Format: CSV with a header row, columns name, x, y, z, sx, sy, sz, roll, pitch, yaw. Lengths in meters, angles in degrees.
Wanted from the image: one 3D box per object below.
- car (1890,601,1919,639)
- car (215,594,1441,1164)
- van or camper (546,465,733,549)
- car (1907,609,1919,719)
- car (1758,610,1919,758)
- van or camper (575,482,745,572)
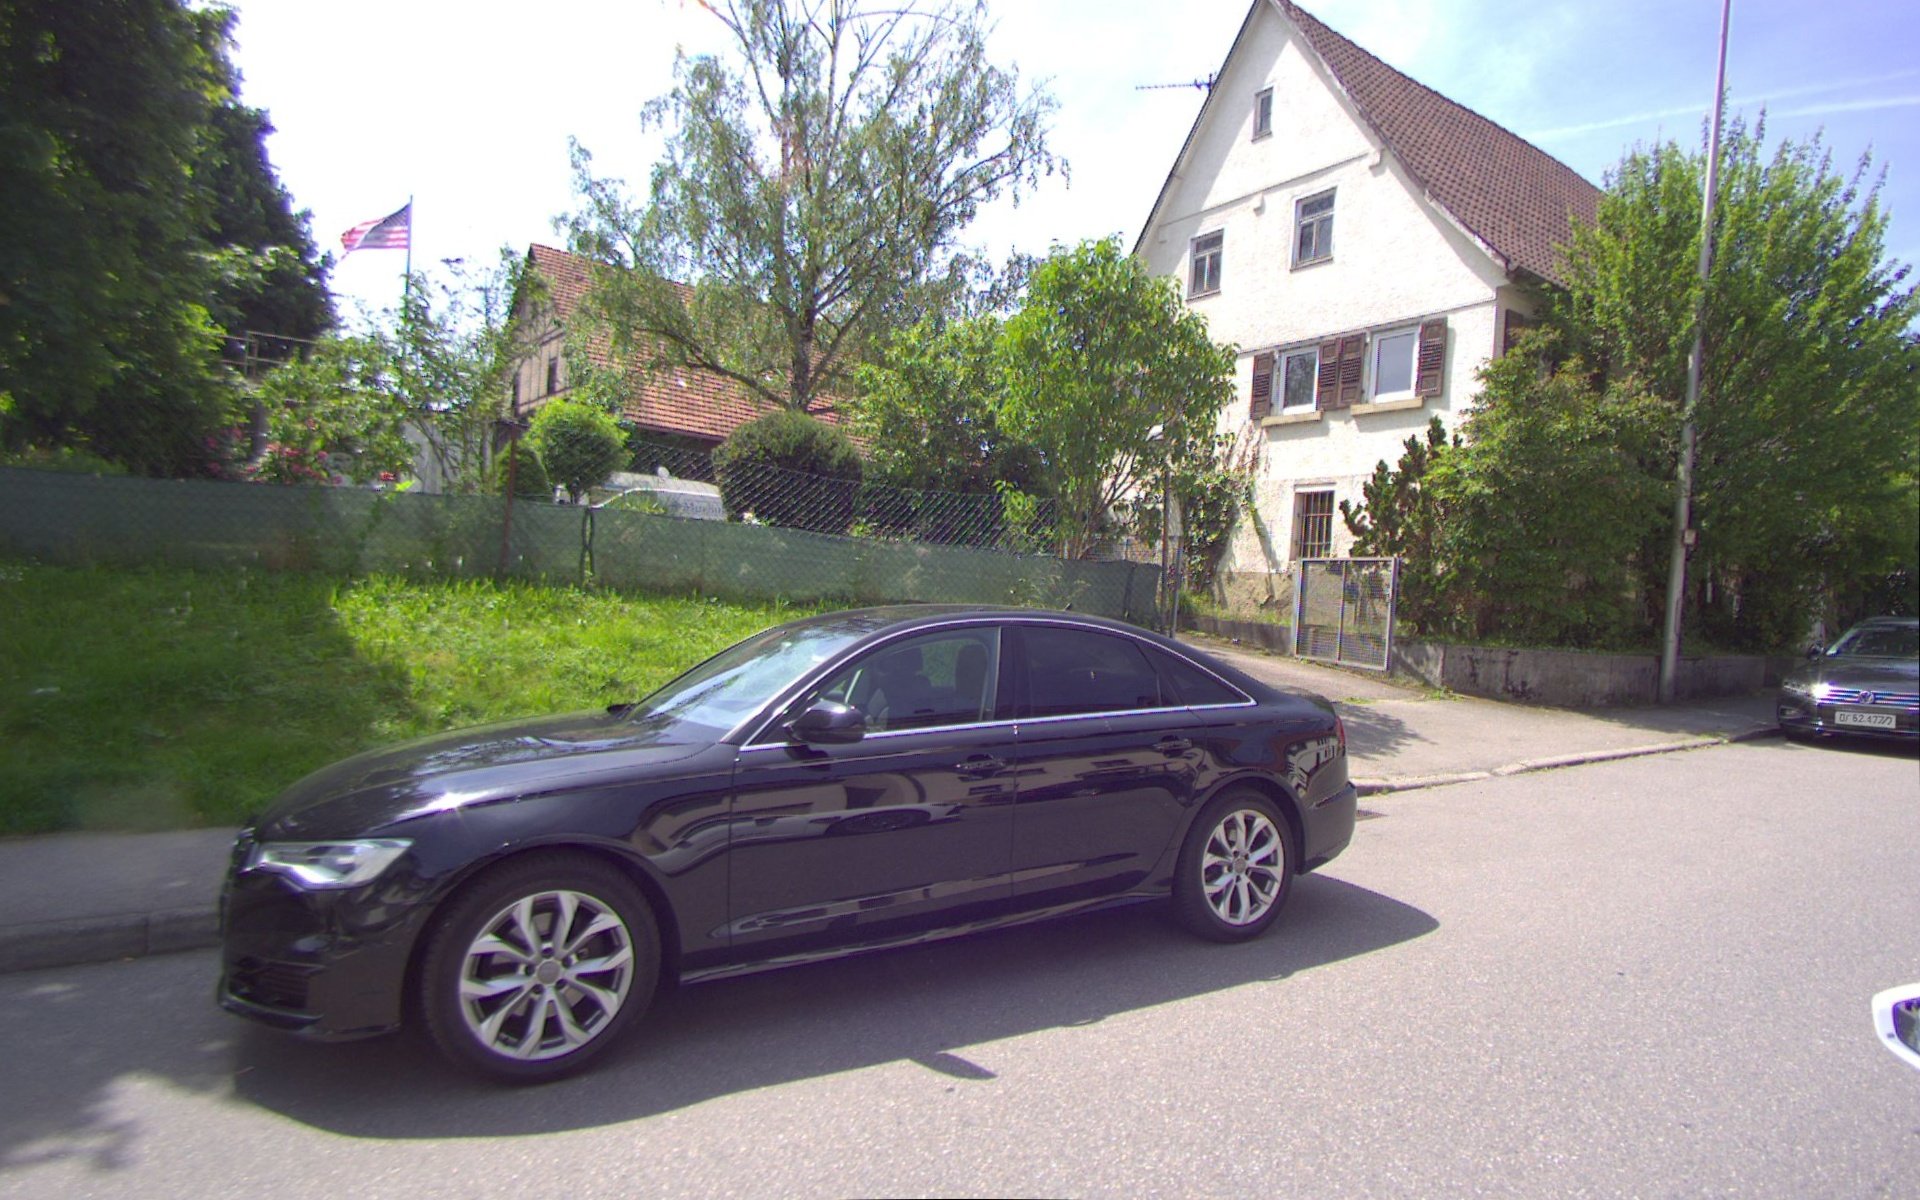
name,x,y,z,sx,sy,sz,roll,pitch,yaw
car,38.832,0.964,38.677,1.808,1.424,4.190,1,6,-42
car,-0.194,0.730,4.539,4.867,1.443,1.796,1,1,-29
van or camper,-9.248,-2.628,29.150,4.775,2.041,1.978,1,3,-38
car,15.698,0.933,14.565,4.250,1.541,1.746,1,1,-31
car,11.484,0.910,11.945,4.663,1.483,1.777,1,0,-34
van or camper,-7.840,-1.860,26.245,3.948,2.041,1.986,1,3,-27
